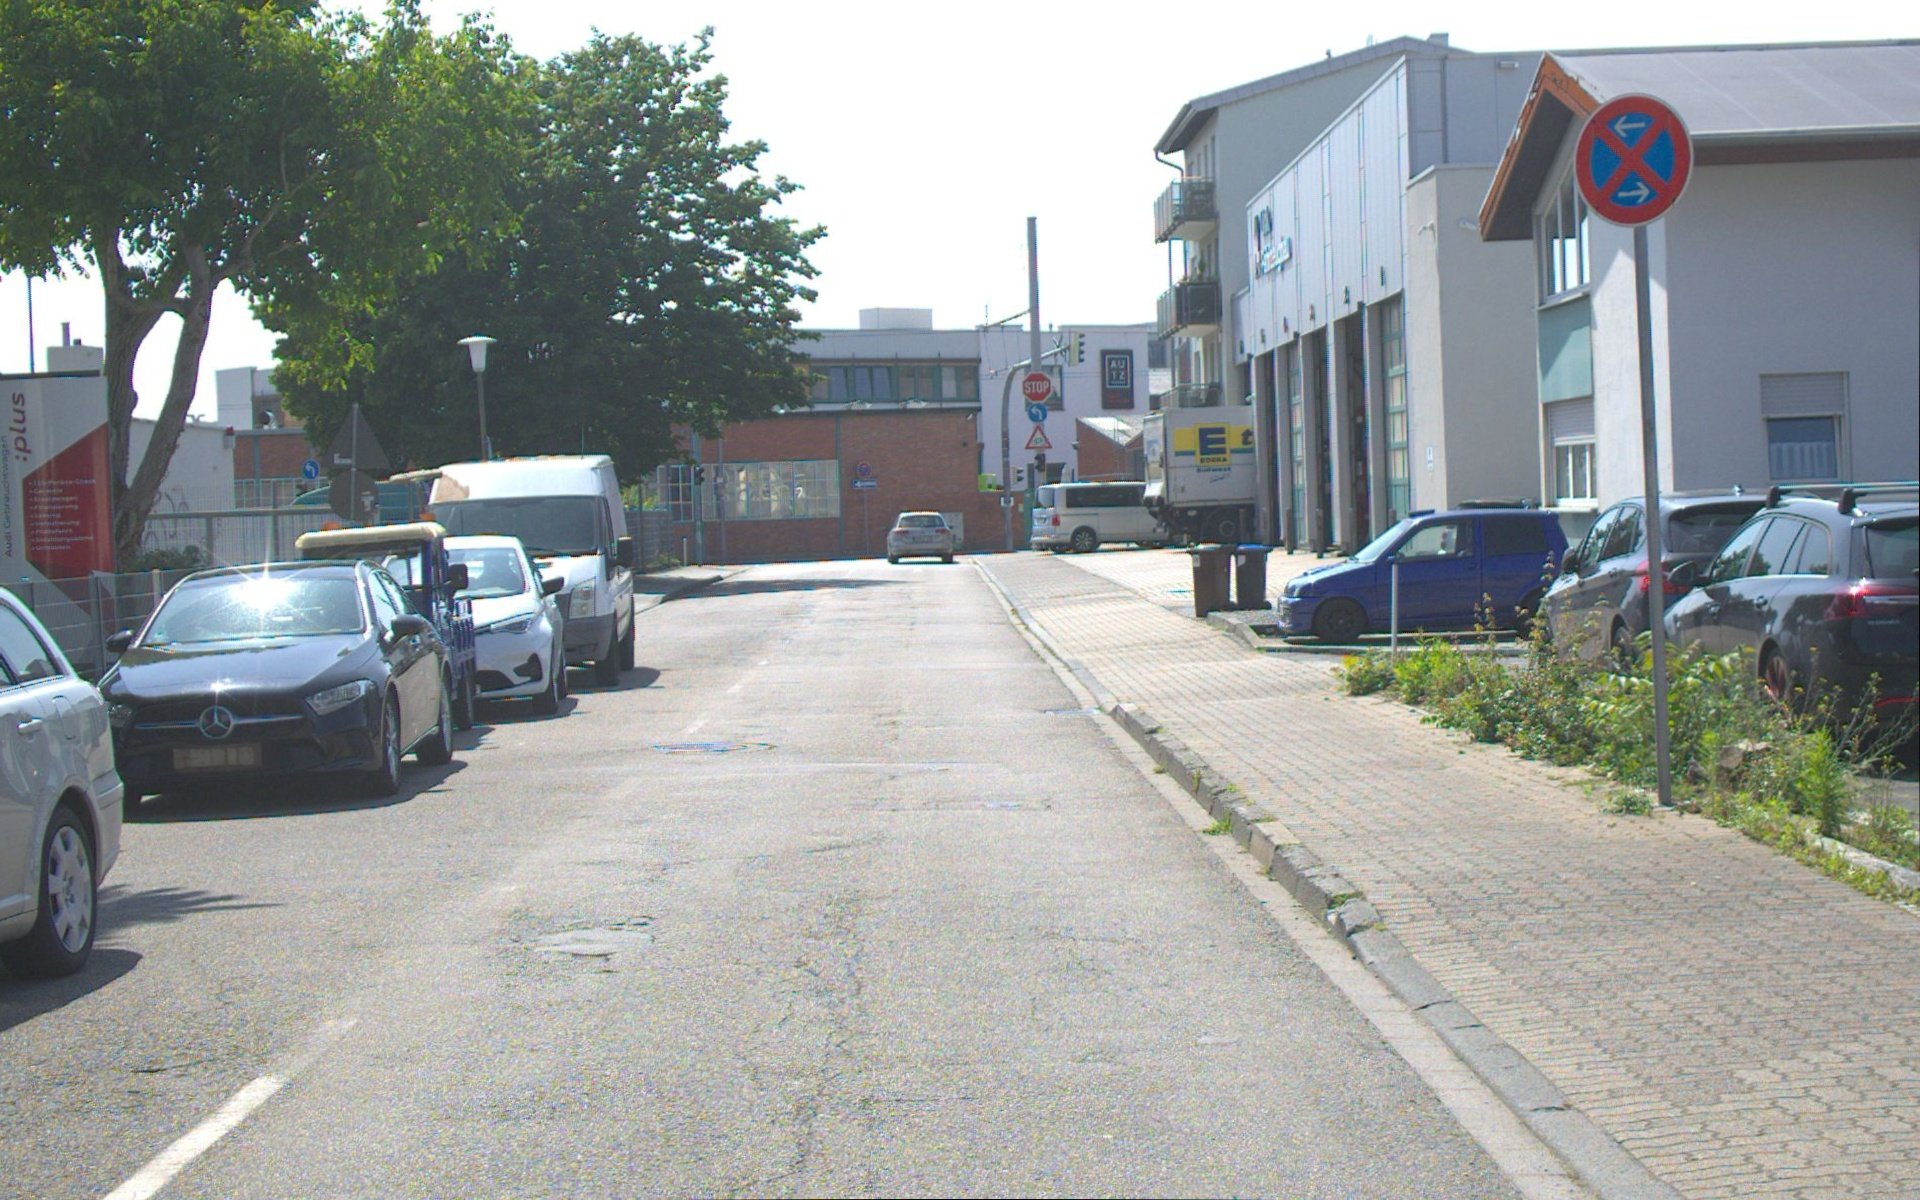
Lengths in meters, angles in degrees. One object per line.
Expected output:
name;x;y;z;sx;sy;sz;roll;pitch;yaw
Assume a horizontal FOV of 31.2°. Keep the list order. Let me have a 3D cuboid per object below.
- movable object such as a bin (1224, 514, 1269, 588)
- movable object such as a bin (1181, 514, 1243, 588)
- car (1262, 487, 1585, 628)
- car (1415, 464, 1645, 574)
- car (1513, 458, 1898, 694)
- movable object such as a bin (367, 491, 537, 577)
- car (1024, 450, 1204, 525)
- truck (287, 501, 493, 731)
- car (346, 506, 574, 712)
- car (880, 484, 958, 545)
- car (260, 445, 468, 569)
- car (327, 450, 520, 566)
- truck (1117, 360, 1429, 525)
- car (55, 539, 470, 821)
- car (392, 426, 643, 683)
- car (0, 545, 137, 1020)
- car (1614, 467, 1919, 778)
movable object such as a bin;3.798;-0.646;45.511;0.514;0.943;0.487;-2;2;11
movable object such as a bin;3.308;-0.644;45.098;0.568;0.943;0.556;-1;2;33
car;5.012;-0.477;37.445;3.253;1.394;1.673;-2;2;0
car;8.856;-1.269;53.246;1.777;1.534;3.694;-1;3;41
car;5.442;-0.233;25.624;1.811;1.553;4.293;-2;2;-1
movable object such as a bin;-9.792;-1.295;66.457;2.627;1.505;2.728;-2;2;5
car;4.354;-3.188;97.065;4.653;1.951;1.917;-2;2;-19
truck;-4.422;0.075;26.964;1.138;1.616;3.142;-4;2;-3
car;-4.378;0.027;30.574;1.704;1.618;3.974;-3;2;-5
car;-1.197;-2.471;99.334;1.890;1.679;3.959;1;1;-6
car;-12.725;-1.997;73.578;4.085;2.504;1.777;-2;2;-2
car;-12.200;-2.105;78.404;4.085;2.504;1.777;-2;2;-2
truck;8.028;-4.054;88.638;7.358;3.632;2.768;-5;2;-6
car;-4.244;0.417;21.534;1.704;1.458;4.114;-3;2;0
car;-4.499;-0.522;35.738;2.005;2.358;5.230;-3;2;-2
car;-4.039;0.662;10.640;1.741;1.516;4.310;-2;2;2
car;5.310;0.021;20.163;1.858;1.562;4.952;-2;2;-1
